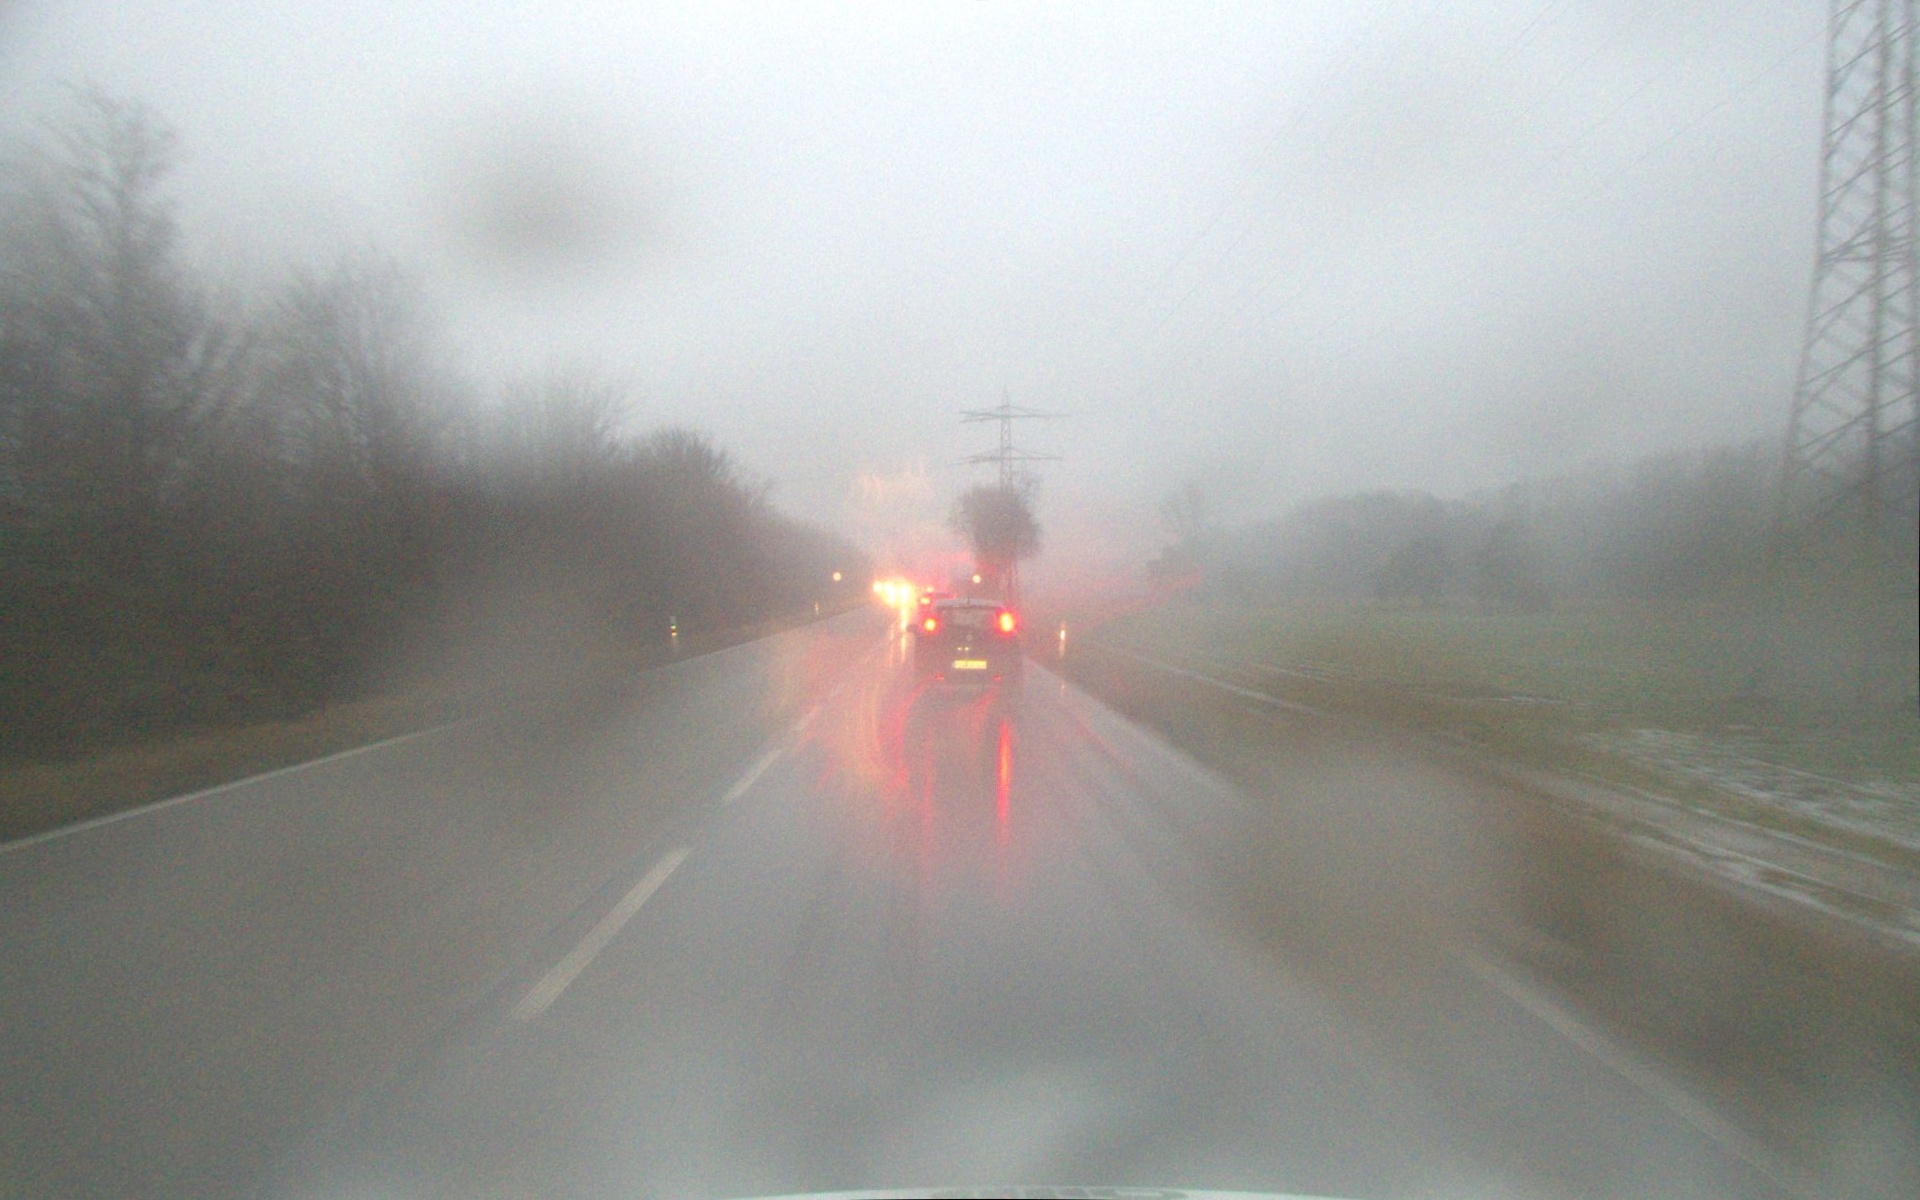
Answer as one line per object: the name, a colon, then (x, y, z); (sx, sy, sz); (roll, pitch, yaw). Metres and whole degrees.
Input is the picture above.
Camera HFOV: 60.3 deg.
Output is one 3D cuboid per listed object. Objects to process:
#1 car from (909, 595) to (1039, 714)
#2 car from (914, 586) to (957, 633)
car: (0.177, 0.806, 26.801); (1.953, 1.783, 3.999); (0, 0, -1)
car: (-1.133, 0.408, 77.529); (1.953, 2.048, 4.000); (1, 1, 0)
